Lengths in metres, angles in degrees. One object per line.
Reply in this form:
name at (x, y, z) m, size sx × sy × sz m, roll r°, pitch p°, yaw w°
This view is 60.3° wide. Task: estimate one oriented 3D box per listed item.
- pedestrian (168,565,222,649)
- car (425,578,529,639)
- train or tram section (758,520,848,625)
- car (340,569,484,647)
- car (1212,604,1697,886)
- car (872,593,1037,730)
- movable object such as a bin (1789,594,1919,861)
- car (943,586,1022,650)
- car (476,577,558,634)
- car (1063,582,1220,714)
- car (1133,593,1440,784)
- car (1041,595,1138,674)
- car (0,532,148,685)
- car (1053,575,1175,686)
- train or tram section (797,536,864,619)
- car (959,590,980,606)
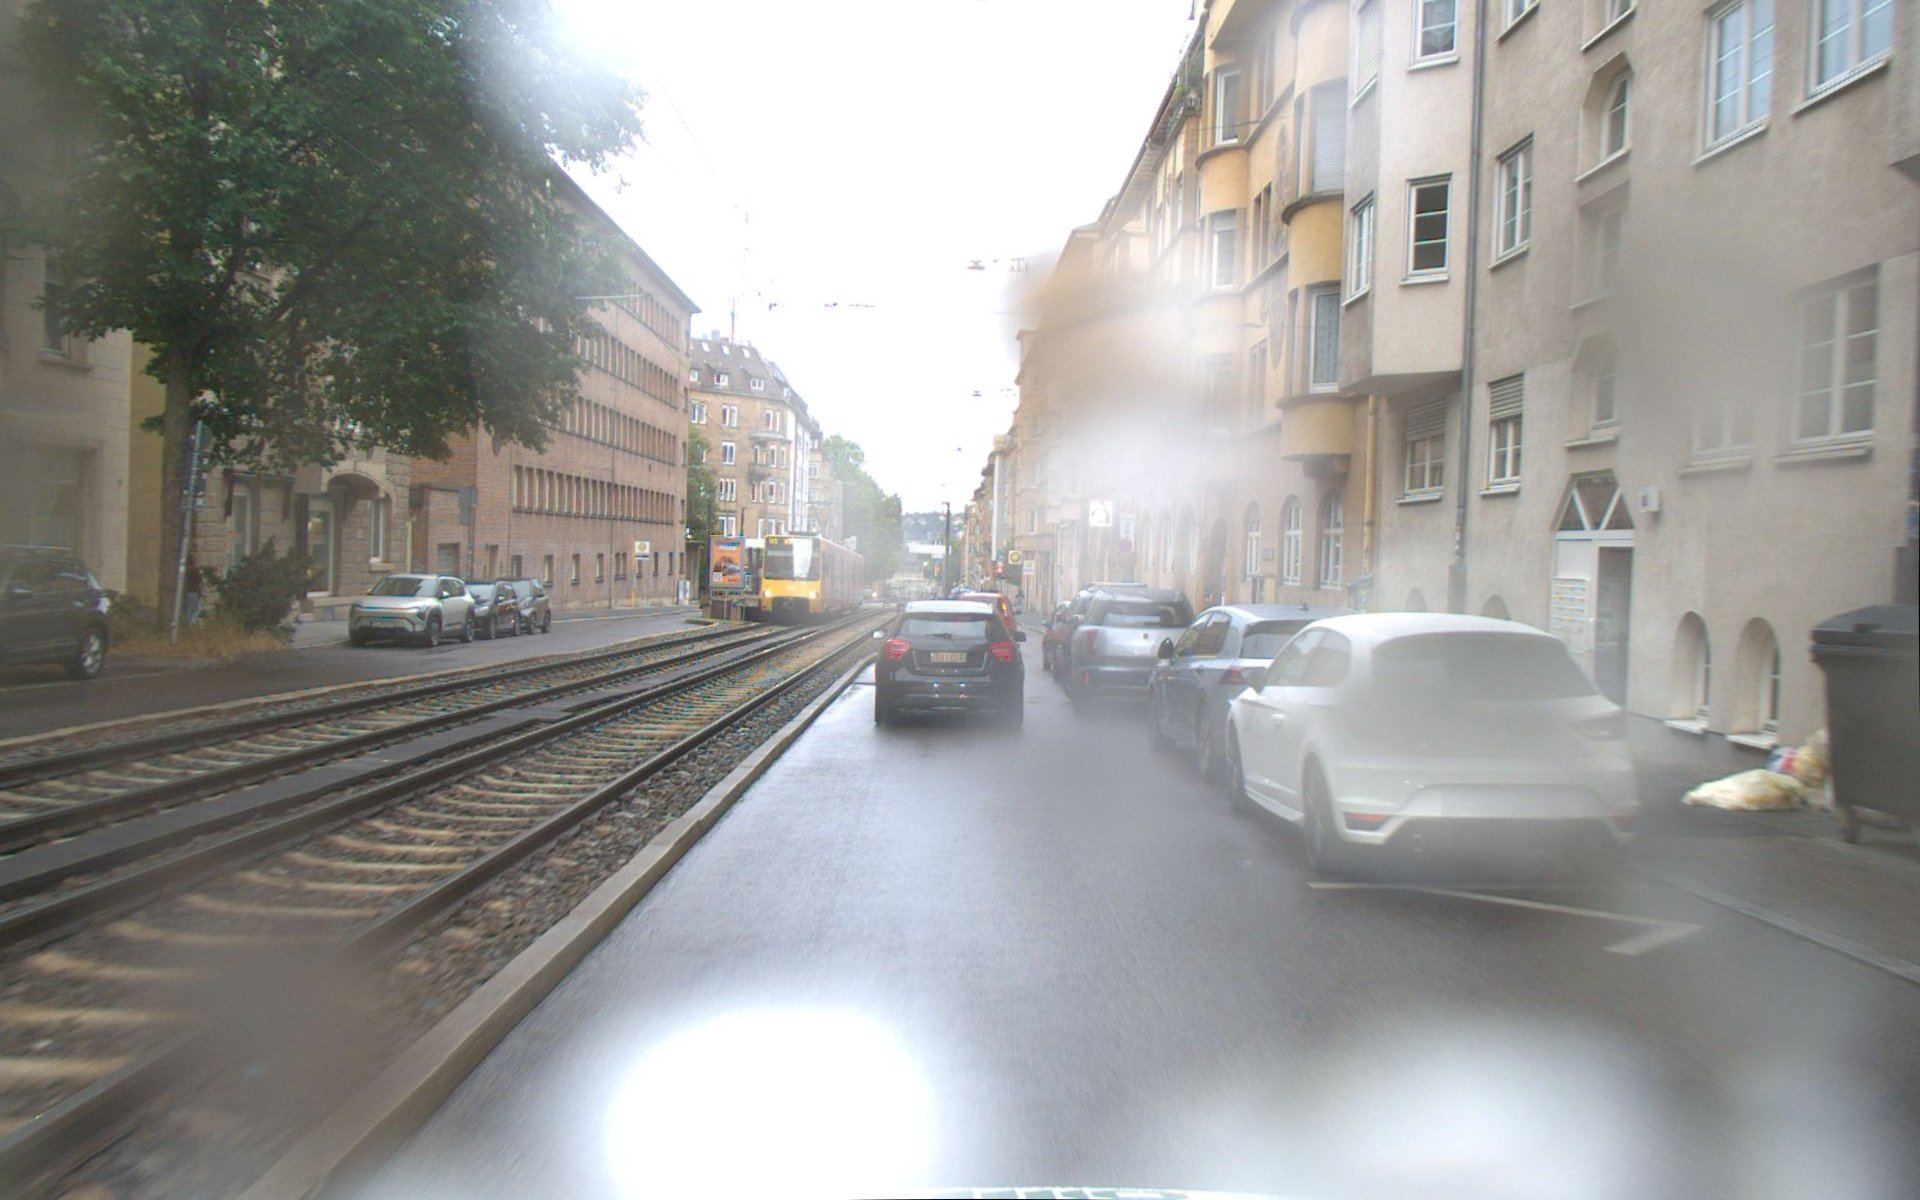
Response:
pedestrian at (-15.666, 0.141, 33.879) m, size 0.713 × 1.692 × 0.770 m, roll 2°, pitch 0°, yaw -1°
car at (-12.506, 0.195, 43.055) m, size 1.633 × 1.440 × 3.687 m, roll 2°, pitch 0°, yaw -1°
train or tram section at (-6.851, -1.160, 74.456) m, size 2.690 × 4.133 × 17.210 m, roll 1°, pitch 0°, yaw -1°
car at (-12.495, 0.154, 37.997) m, size 1.921 × 1.633 × 4.327 m, roll 2°, pitch 0°, yaw -1°
car at (2.865, 0.760, 10.643) m, size 1.753 × 1.410 × 4.394 m, roll 1°, pitch -1°, yaw -1°
car at (-0.071, 0.682, 20.246) m, size 1.797 × 1.478 × 3.901 m, roll 1°, pitch 0°, yaw 0°
movable object such as a bin at (5.830, 0.727, 9.955) m, size 0.997 × 1.494 × 1.322 m, roll 1°, pitch -1°, yaw -1°
car at (0.553, 0.457, 43.762) m, size 1.953 × 1.552 × 4.245 m, roll 2°, pitch 0°, yaw 0°
car at (-12.492, 0.138, 46.819) m, size 1.540 × 1.492 × 3.044 m, roll 2°, pitch 0°, yaw -2°
car at (2.431, 0.626, 23.232) m, size 1.803 × 1.636 × 4.761 m, roll 1°, pitch -1°, yaw 2°
car at (2.824, 0.726, 15.313) m, size 1.795 × 1.493 × 4.373 m, roll 1°, pitch -1°, yaw -3°
car at (2.610, 0.681, 33.910) m, size 1.559 × 1.465 × 3.308 m, roll 3°, pitch -1°, yaw -2°
car at (-12.315, 0.041, 20.731) m, size 1.914 × 1.772 × 4.777 m, roll 4°, pitch 0°, yaw -2°
car at (2.641, 0.521, 29.293) m, size 1.742 × 1.780 × 4.548 m, roll 1°, pitch -1°, yaw 0°
train or tram section at (-6.948, -1.170, 90.732) m, size 2.690 × 4.133 × 15.657 m, roll 1°, pitch 0°, yaw -1°
car at (1.013, -0.169, 172.869) m, size 2.091 × 1.552 × 4.245 m, roll 2°, pitch 0°, yaw 0°
